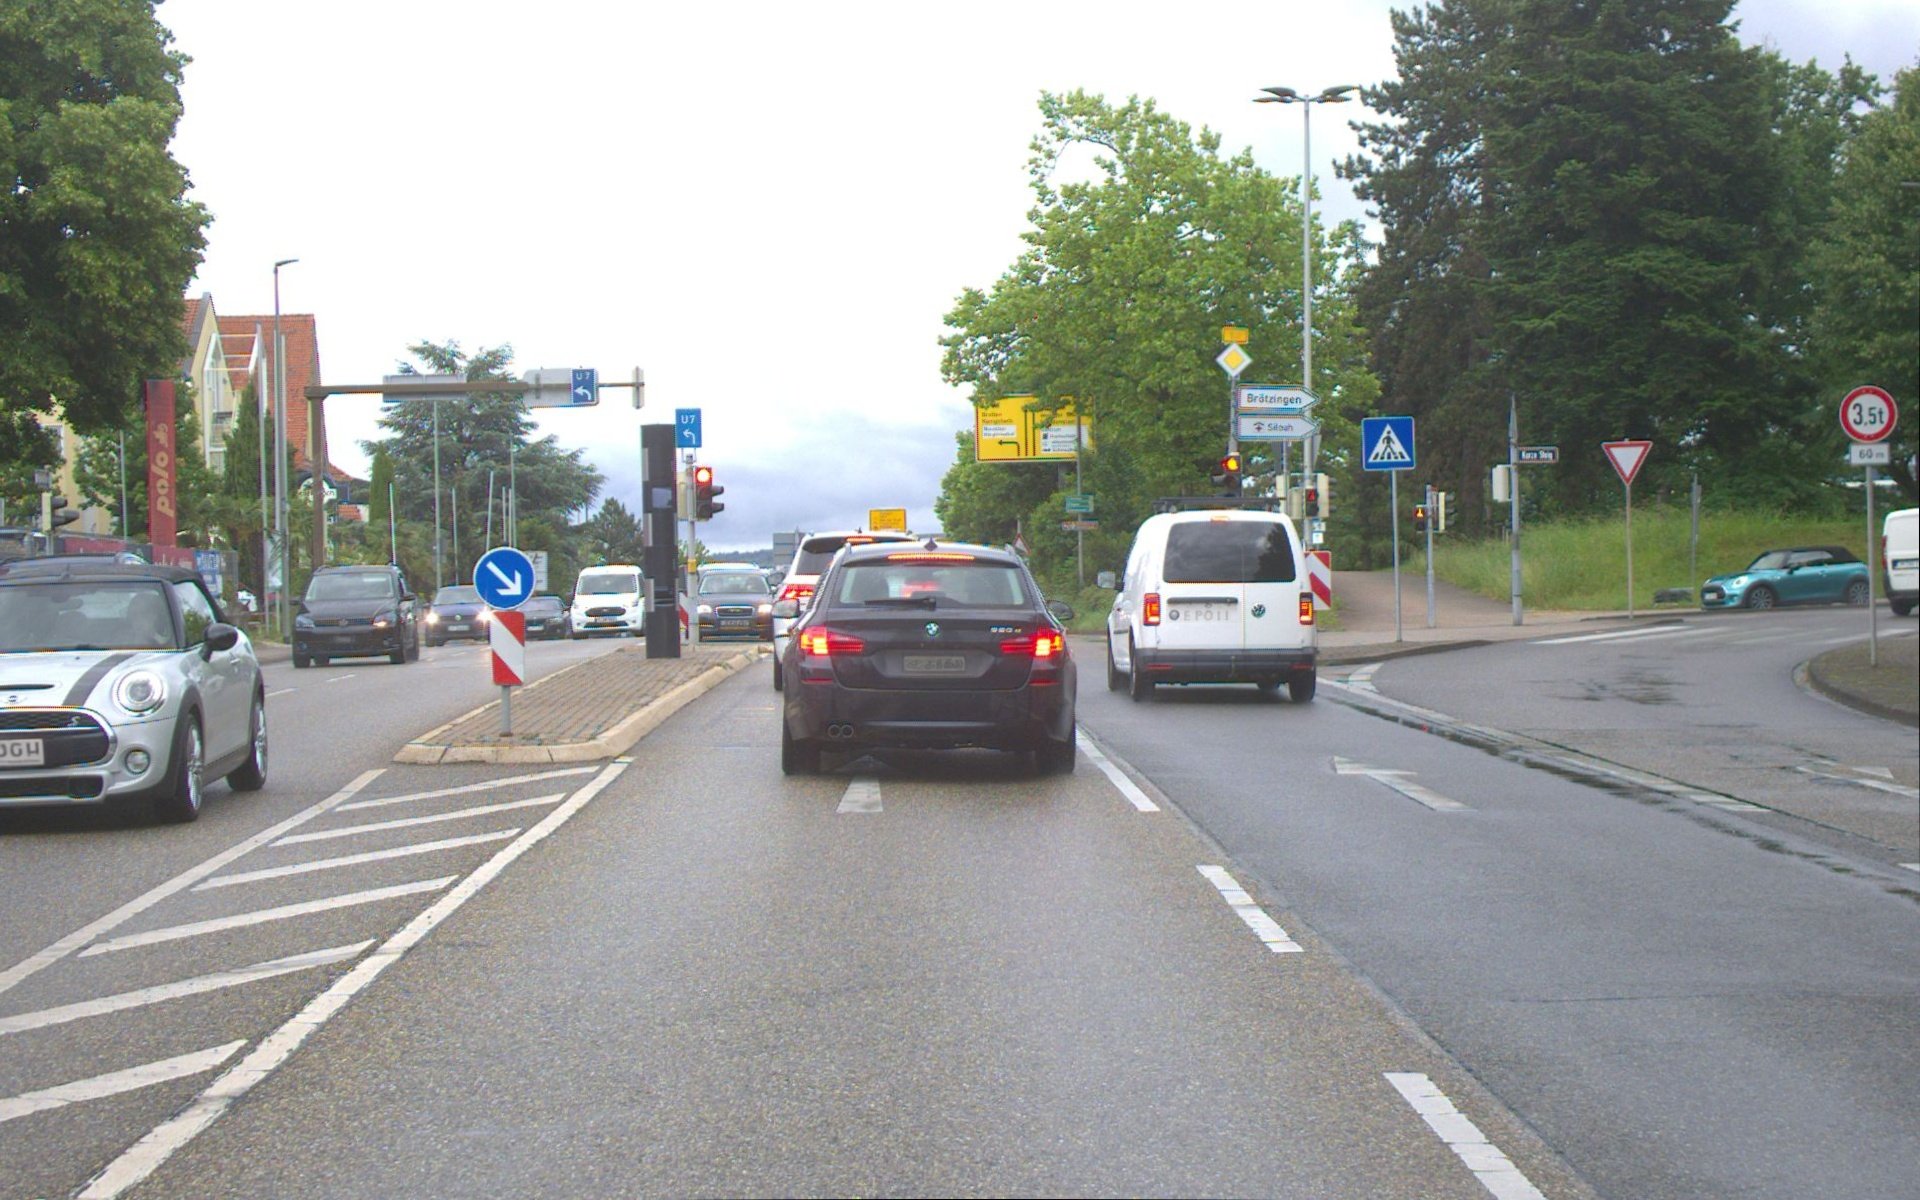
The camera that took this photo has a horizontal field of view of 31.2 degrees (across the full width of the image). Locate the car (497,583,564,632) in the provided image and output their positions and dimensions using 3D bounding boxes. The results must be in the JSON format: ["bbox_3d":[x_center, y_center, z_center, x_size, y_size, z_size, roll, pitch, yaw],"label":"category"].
[{"bbox_3d":[-13.342,0.225,106.947,1.668,1.377,4.072,-2,1,-2],"label":"car"}]

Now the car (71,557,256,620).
[{"bbox_3d":[-20.133,-0.303,86.945,4.193,1.451,1.801,-2,1,-28],"label":"car"}]

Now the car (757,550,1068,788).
[{"bbox_3d":[-0.240,0.381,22.470,1.855,1.414,3.957,0,1,1],"label":"car"}]

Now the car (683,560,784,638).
[{"bbox_3d":[-4.515,-0.036,68.114,1.894,1.451,4.098,-2,0,-4],"label":"car"}]

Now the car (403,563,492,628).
[{"bbox_3d":[-12.132,-0.133,81.591,1.634,1.377,3.766,-3,1,-2],"label":"car"}]

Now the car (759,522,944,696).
[{"bbox_3d":[-1.110,0.056,36.569,1.728,1.705,3.382,0,2,2],"label":"car"}]

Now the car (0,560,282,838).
[{"bbox_3d":[-5.106,0.516,20.056,1.667,1.393,4.001,-3,1,-3],"label":"car"}]

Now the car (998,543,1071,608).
[{"bbox_3d":[1.730,-0.596,80.741,1.600,1.367,3.680,-2,2,0],"label":"car"}]

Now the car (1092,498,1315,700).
[{"bbox_3d":[2.330,-0.049,33.741,1.741,1.863,3.946,0,1,-2],"label":"car"}]

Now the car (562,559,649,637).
[{"bbox_3d":[-8.908,-0.061,86.650,1.857,1.817,4.580,-3,1,-3],"label":"car"}]

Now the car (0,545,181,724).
[{"bbox_3d":[-9.233,0.314,34.895,1.751,1.605,4.533,-3,2,-3],"label":"car"}]

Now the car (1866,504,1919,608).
[{"bbox_3d":[17.342,-0.806,59.050,1.819,1.702,3.936,0,3,42],"label":"car"}]

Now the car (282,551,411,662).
[{"bbox_3d":[-10.051,0.072,56.528,1.756,1.671,4.149,-3,1,-7],"label":"car"}]

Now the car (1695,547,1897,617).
[{"bbox_3d":[18.126,-0.397,74.551,3.986,1.289,1.609,-3,2,-19],"label":"car"}]
